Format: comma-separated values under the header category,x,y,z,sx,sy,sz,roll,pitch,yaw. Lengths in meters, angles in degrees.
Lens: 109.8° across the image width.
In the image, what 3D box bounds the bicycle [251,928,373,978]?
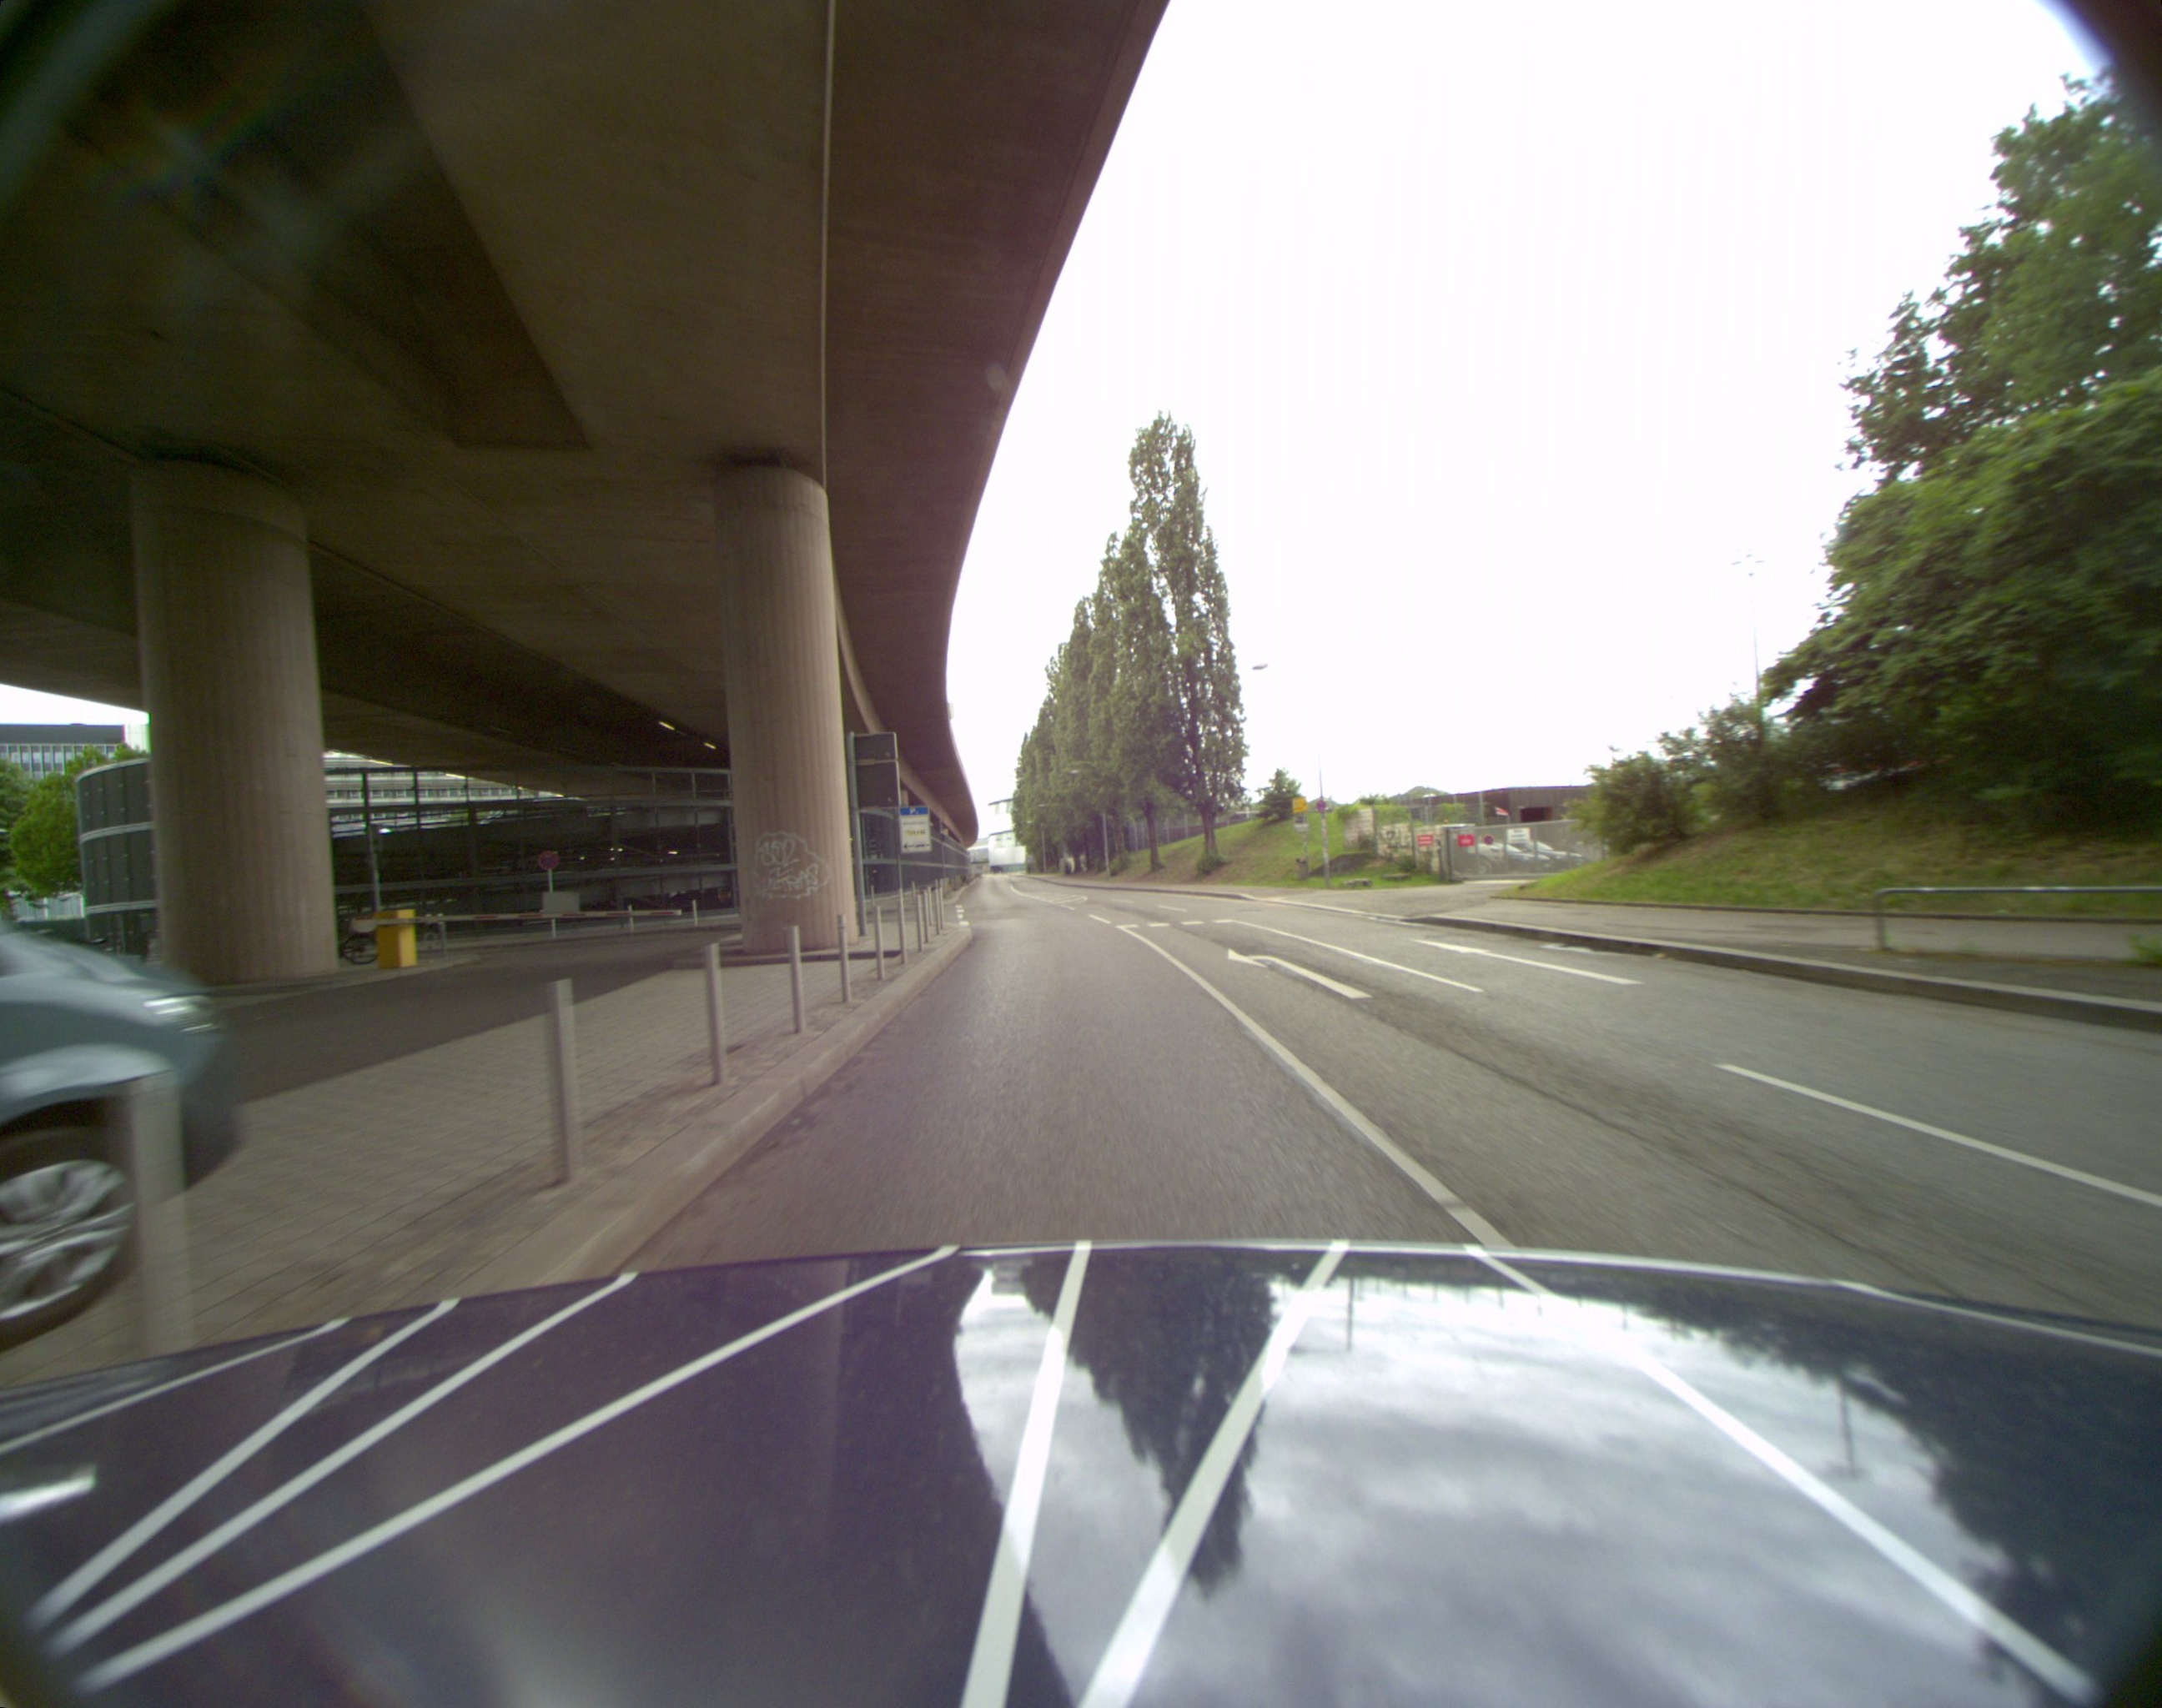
category,x,y,z,sx,sy,sz,roll,pitch,yaw
bicycle,-17.759,2.276,17.587,2.020,0.920,0.419,-3,-1,-15

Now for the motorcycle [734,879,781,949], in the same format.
category,x,y,z,sx,sy,sz,roll,pitch,yaw
motorcycle,-6.906,1.237,16.214,0.799,1.358,2.126,-2,-1,-24

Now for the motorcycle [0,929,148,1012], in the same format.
category,x,y,z,sx,sy,sz,roll,pitch,yaw
motorcycle,-18.013,1.998,13.110,0.784,1.227,2.537,-3,-2,-3

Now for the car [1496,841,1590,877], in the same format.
category,x,y,z,sx,sy,sz,roll,pitch,yaw
car,21.490,0.237,35.403,3.464,1.513,1.566,-3,0,45

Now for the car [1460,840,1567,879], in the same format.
category,x,y,z,sx,sy,sz,roll,pitch,yaw
car,19.435,0.267,34.214,3.756,1.599,1.860,-3,0,45

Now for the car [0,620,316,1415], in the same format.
category,x,y,z,sx,sy,sz,roll,pitch,yaw
car,-4.474,0.535,0.429,1.999,2.597,6.073,-3,-1,-2

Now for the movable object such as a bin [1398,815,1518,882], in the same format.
category,x,y,z,sx,sy,sz,roll,pitch,yaw
movable object such as a bin,16.450,-0.203,33.286,4.220,2.706,2.031,-3,0,45
